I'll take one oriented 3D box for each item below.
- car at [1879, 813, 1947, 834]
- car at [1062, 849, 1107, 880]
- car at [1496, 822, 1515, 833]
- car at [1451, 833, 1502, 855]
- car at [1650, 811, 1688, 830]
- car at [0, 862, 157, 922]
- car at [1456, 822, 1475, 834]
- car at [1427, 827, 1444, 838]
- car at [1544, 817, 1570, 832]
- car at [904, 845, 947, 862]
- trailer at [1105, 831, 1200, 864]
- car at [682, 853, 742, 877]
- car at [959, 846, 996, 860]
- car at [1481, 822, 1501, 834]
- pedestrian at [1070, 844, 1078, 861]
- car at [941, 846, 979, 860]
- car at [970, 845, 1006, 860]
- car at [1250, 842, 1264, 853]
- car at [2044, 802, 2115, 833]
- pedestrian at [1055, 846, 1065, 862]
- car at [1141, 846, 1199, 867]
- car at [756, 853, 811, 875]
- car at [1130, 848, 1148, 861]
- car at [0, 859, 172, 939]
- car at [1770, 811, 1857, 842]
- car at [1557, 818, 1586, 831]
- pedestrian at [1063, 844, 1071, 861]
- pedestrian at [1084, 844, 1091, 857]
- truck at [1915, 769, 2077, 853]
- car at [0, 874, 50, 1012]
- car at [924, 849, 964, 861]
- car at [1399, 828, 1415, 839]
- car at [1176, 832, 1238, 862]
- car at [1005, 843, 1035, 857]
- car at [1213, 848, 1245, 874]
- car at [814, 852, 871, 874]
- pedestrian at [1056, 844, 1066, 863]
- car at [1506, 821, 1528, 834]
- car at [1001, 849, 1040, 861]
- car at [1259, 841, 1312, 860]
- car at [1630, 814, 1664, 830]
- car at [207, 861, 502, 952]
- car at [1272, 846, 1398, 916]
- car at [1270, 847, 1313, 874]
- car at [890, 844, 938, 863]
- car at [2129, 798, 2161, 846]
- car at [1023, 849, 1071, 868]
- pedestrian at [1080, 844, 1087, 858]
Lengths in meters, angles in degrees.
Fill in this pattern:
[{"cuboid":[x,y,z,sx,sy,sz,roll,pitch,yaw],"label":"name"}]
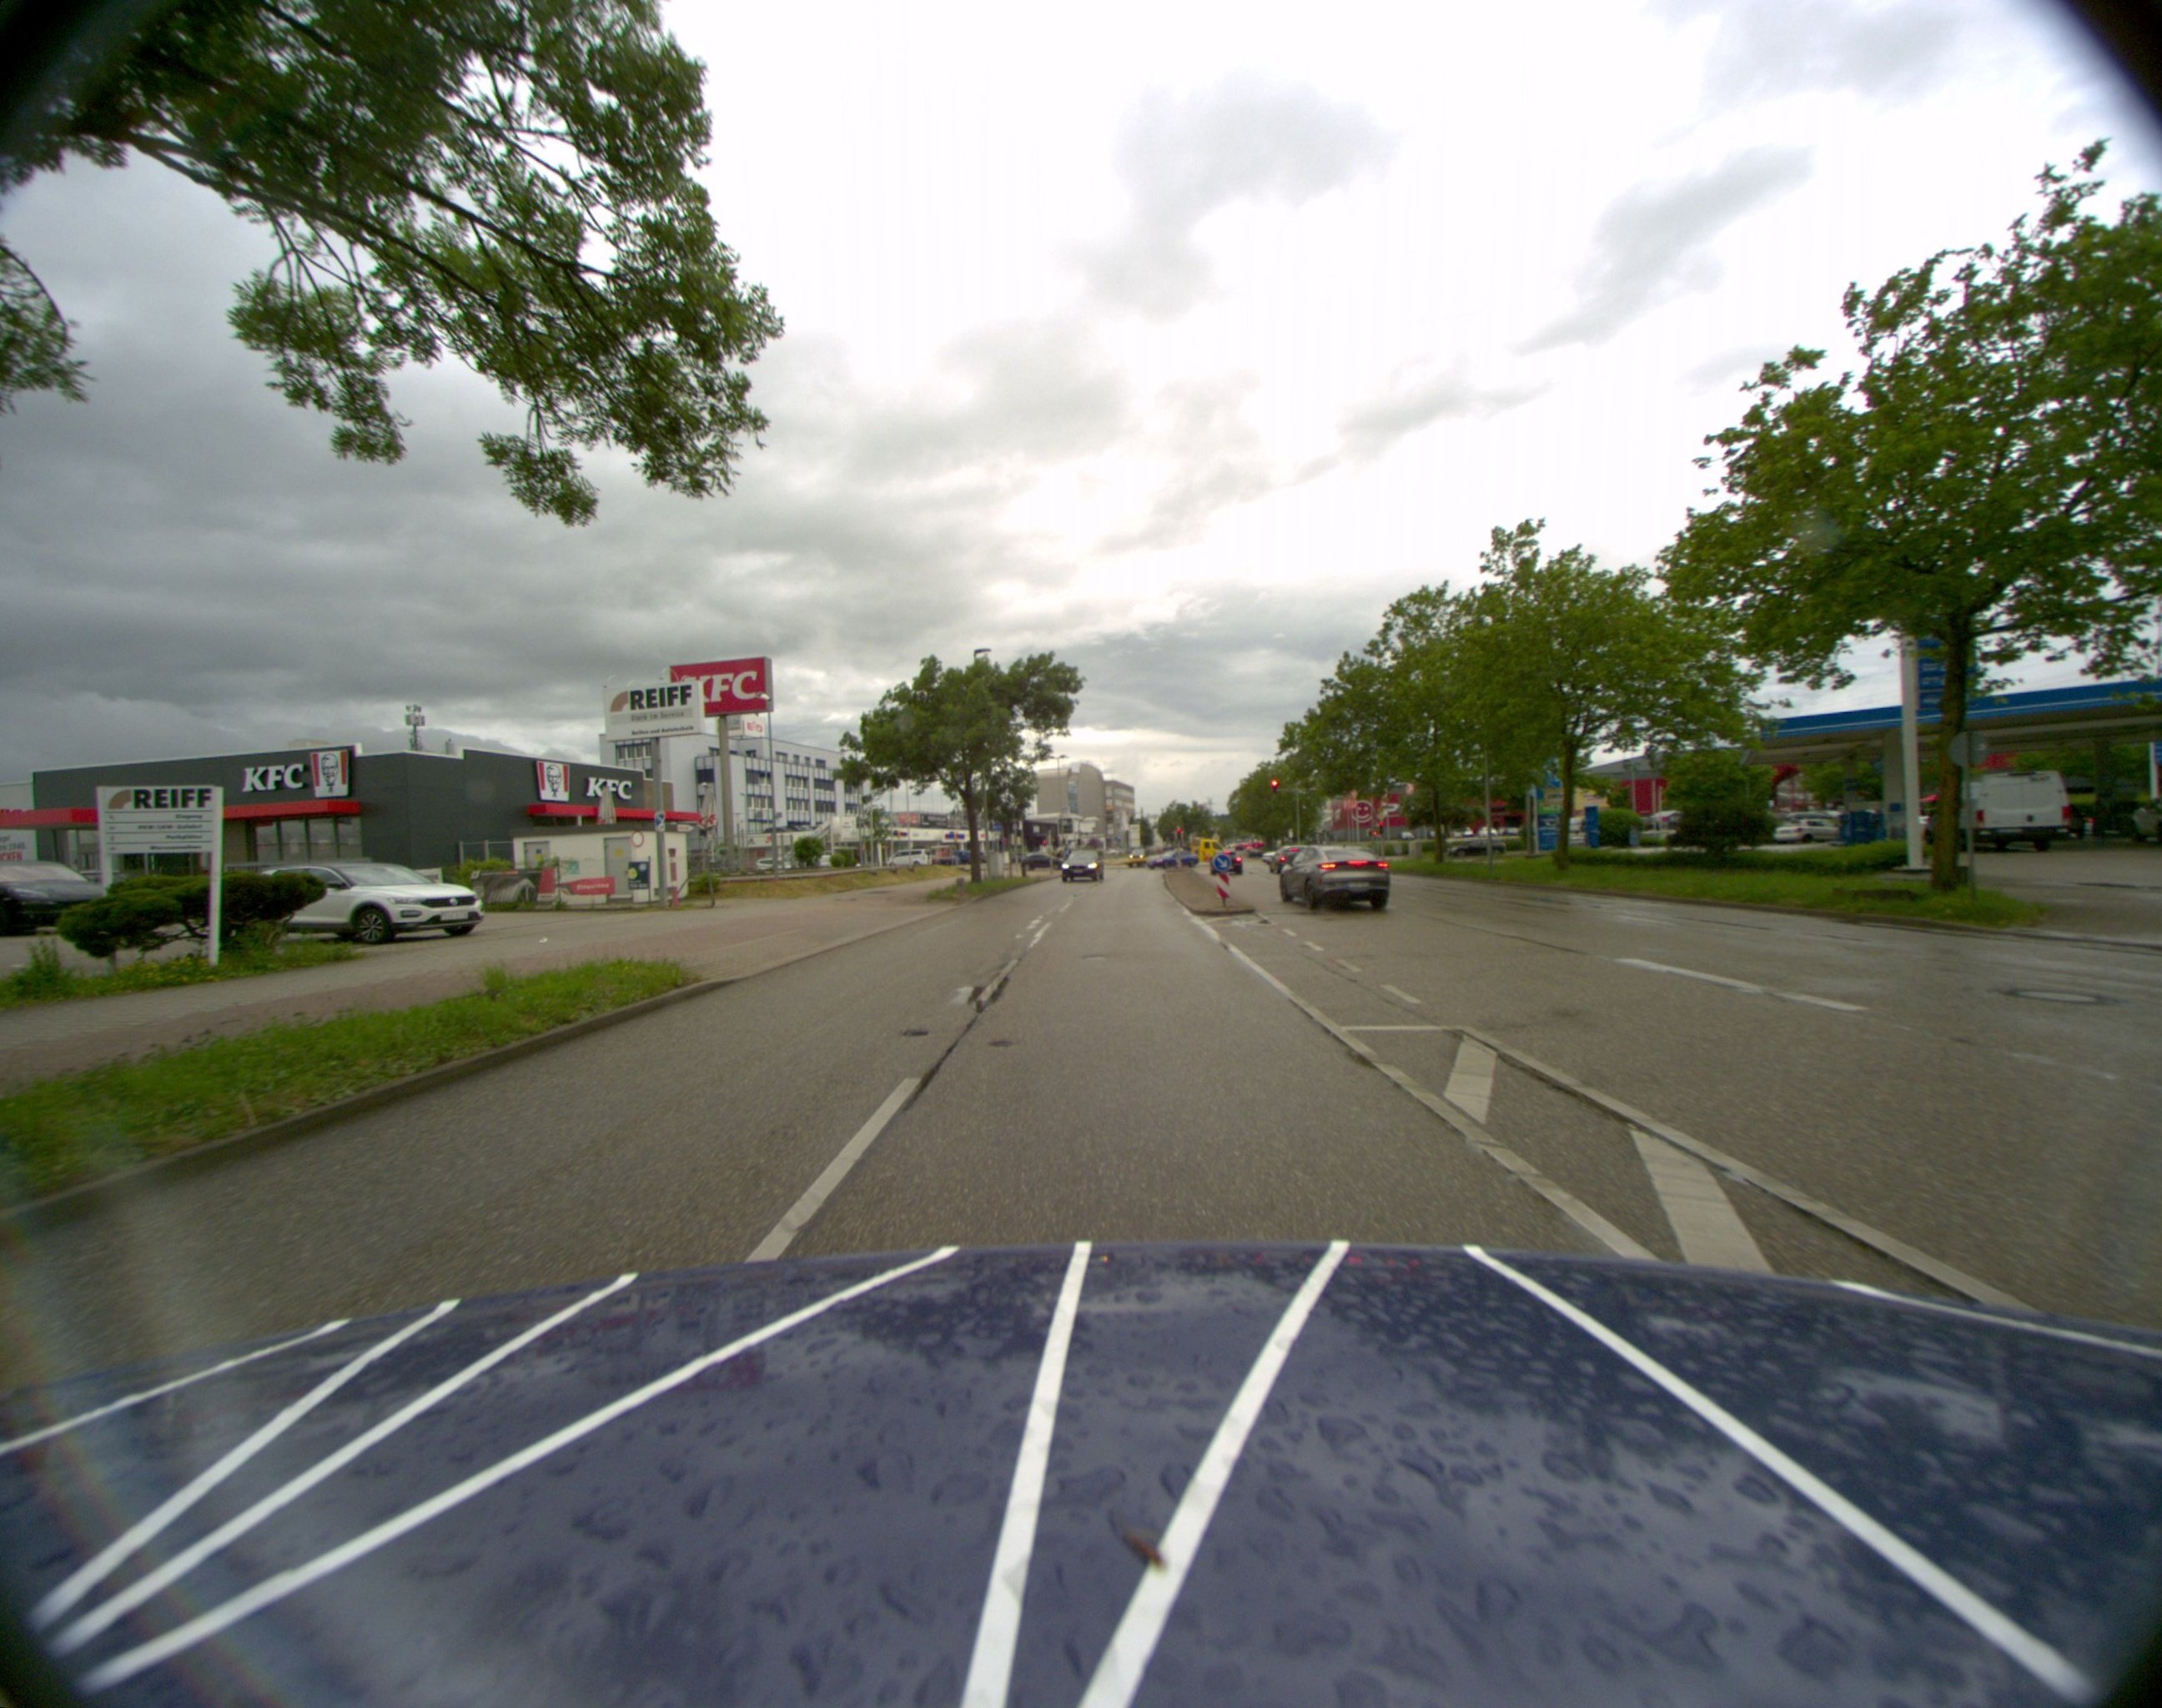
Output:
[{"cuboid":[72.163,-2.624,65.969,1.682,1.600,4.289,-1,0,9],"label":"car"},{"cuboid":[0.252,0.532,41.203,1.899,1.544,4.594,-1,0,6],"label":"car"},{"cuboid":[68.658,-4.273,122.929,1.694,1.636,3.966,-1,0,14],"label":"car"},{"cuboid":[33.705,-0.854,64.849,3.534,1.687,1.603,-2,1,10],"label":"car"},{"cuboid":[77.620,-4.346,100.346,1.823,2.290,5.653,-1,0,14],"label":"car"},{"cuboid":[-31.727,1.170,23.654,4.171,1.692,1.904,-1,1,10],"label":"car"},{"cuboid":[62.851,-4.240,124.166,1.789,1.914,3.753,-1,0,12],"label":"car"},{"cuboid":[58.601,-3.550,125.640,1.694,1.636,3.966,-1,0,14],"label":"car"},{"cuboid":[58.503,-3.625,93.426,1.629,1.636,3.830,-1,0,14],"label":"car"},{"cuboid":[-17.777,-0.107,86.854,4.366,1.809,1.899,-1,1,15],"label":"car"},{"cuboid":[6.357,-0.550,67.603,7.971,2.459,2.309,-3,-1,-9],"label":"trailer"},{"cuboid":[-28.553,0.813,58.932,1.890,1.730,4.505,-1,0,9],"label":"car"},{"cuboid":[-13.805,-0.074,101.436,4.366,1.754,1.899,-1,1,15],"label":"car"},{"cuboid":[59.294,-3.741,109.946,1.670,1.636,3.966,-1,0,14],"label":"car"},{"cuboid":[-0.842,-0.156,88.478,0.740,2.002,0.698,-1,1,12],"label":"pedestrian"},{"cuboid":[-15.376,-0.122,96.652,4.366,1.754,1.899,-1,1,15],"label":"car"},{"cuboid":[-12.684,-0.189,103.792,4.366,1.895,1.899,-1,1,15],"label":"car"},{"cuboid":[23.664,-0.833,102.217,1.785,1.396,4.004,-1,0,13],"label":"car"},{"cuboid":[61.285,-2.198,46.725,1.790,1.718,4.008,-1,0,40],"label":"car"},{"cuboid":[-2.331,-0.034,85.034,0.817,1.765,0.695,-1,2,-28],"label":"pedestrian"},{"cuboid":[7.256,0.181,61.779,4.559,1.623,1.797,-1,1,-31],"label":"car"},{"cuboid":[-25.404,0.844,64.862,3.993,1.698,1.825,-1,1,12],"label":"car"},{"cuboid":[6.877,0.076,89.785,1.753,1.455,4.002,-1,0,9],"label":"car"},{"cuboid":[-23.935,1.012,17.519,3.994,1.670,1.958,-1,1,8],"label":"car"},{"cuboid":[44.475,-1.640,46.169,3.698,1.787,1.813,-2,1,-5],"label":"car"},{"cuboid":[57.652,-3.462,89.379,1.670,1.373,3.913,-1,0,14],"label":"car"},{"cuboid":[-1.581,-0.154,86.278,0.814,1.846,0.698,0,3,16],"label":"pedestrian"},{"cuboid":[0.856,-0.431,100.407,0.713,1.701,0.698,-1,1,16],"label":"pedestrian"},{"cuboid":[33.194,-1.401,27.905,2.149,2.659,7.889,-1,0,38],"label":"truck"},{"cuboid":[-13.953,1.014,8.341,3.992,1.513,1.720,-1,1,14],"label":"car"},{"cuboid":[-16.468,0.096,91.402,4.366,1.386,1.825,-1,1,15],"label":"car"},{"cuboid":[52.424,-3.340,122.216,1.694,1.636,3.966,-1,0,14],"label":"car"},{"cuboid":[11.457,-0.617,69.005,5.019,2.459,2.243,-3,-1,-20],"label":"car"},{"cuboid":[-9.291,-0.573,115.457,3.991,2.002,1.913,-1,1,18],"label":"car"},{"cuboid":[8.785,0.386,45.384,1.646,1.499,3.896,-1,0,8],"label":"car"},{"cuboid":[-20.126,0.755,64.094,4.242,1.772,1.801,-1,-1,11],"label":"car"},{"cuboid":[-2.178,-0.071,83.118,0.817,2.002,0.695,-1,2,-28],"label":"pedestrian"},{"cuboid":[62.048,-3.783,108.286,1.670,1.636,3.966,-1,0,14],"label":"car"},{"cuboid":[-7.016,0.112,88.059,4.118,1.386,1.826,-1,1,19],"label":"car"},{"cuboid":[17.717,-0.299,65.897,4.000,1.544,1.900,-1,2,-8],"label":"car"},{"cuboid":[64.212,-3.656,86.244,1.670,1.636,3.830,-1,0,14],"label":"car"},{"cuboid":[-13.931,0.979,14.695,4.182,1.543,1.891,-2,1,8],"label":"car"},{"cuboid":[6.454,0.591,19.870,1.816,1.553,4.598,-1,1,1],"label":"car"},{"cuboid":[12.442,0.366,45.179,1.997,1.499,4.733,-1,0,10],"label":"car"},{"cuboid":[-18.384,-0.029,83.647,4.778,2.002,2.002,-1,0,16],"label":"car"},{"cuboid":[38.028,-1.160,26.154,1.684,1.573,3.569,-1,2,44],"label":"car"},{"cuboid":[-3.015,0.381,67.644,3.995,1.532,1.815,-2,2,7],"label":"car"},{"cuboid":[0.312,-0.403,97.684,0.700,1.701,0.698,-1,1,16],"label":"pedestrian"}]
